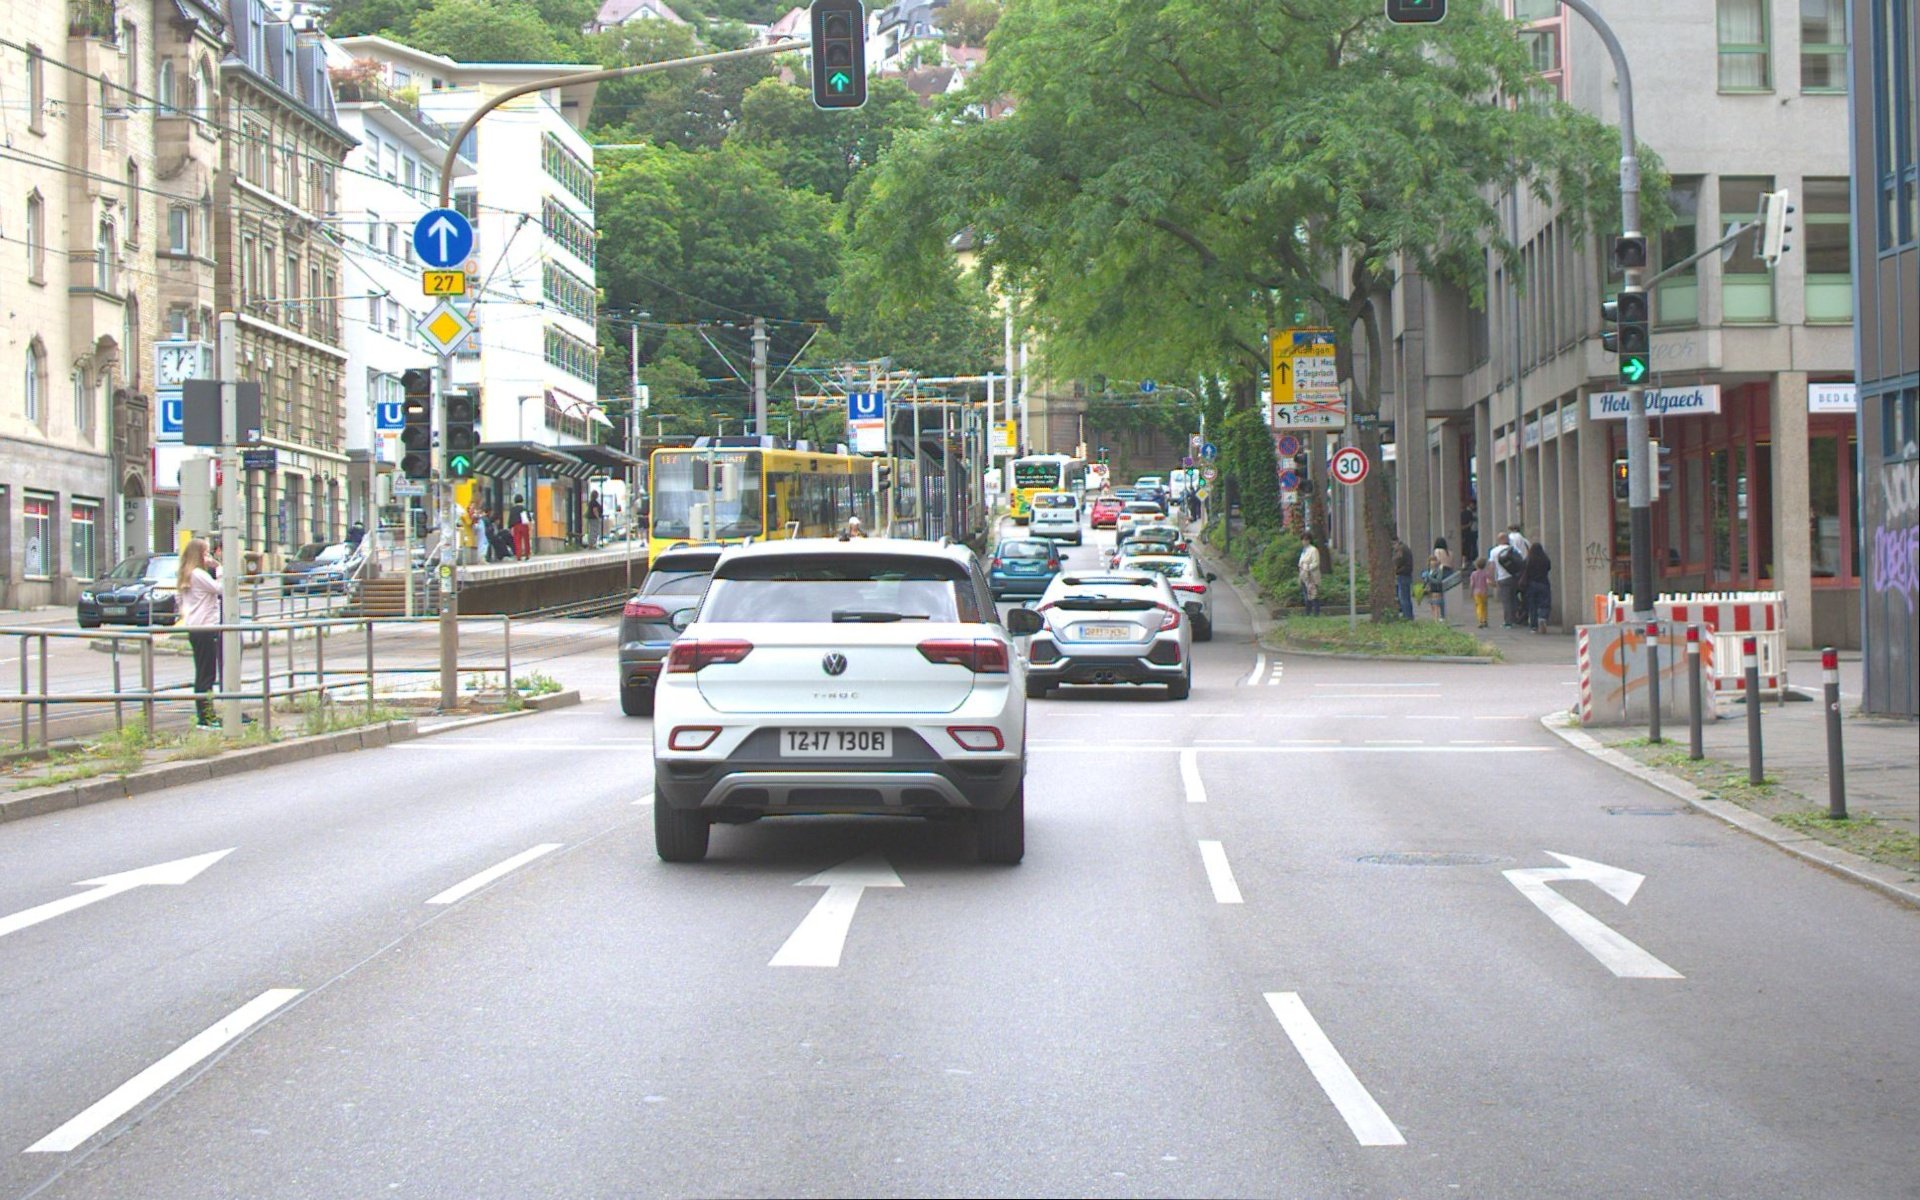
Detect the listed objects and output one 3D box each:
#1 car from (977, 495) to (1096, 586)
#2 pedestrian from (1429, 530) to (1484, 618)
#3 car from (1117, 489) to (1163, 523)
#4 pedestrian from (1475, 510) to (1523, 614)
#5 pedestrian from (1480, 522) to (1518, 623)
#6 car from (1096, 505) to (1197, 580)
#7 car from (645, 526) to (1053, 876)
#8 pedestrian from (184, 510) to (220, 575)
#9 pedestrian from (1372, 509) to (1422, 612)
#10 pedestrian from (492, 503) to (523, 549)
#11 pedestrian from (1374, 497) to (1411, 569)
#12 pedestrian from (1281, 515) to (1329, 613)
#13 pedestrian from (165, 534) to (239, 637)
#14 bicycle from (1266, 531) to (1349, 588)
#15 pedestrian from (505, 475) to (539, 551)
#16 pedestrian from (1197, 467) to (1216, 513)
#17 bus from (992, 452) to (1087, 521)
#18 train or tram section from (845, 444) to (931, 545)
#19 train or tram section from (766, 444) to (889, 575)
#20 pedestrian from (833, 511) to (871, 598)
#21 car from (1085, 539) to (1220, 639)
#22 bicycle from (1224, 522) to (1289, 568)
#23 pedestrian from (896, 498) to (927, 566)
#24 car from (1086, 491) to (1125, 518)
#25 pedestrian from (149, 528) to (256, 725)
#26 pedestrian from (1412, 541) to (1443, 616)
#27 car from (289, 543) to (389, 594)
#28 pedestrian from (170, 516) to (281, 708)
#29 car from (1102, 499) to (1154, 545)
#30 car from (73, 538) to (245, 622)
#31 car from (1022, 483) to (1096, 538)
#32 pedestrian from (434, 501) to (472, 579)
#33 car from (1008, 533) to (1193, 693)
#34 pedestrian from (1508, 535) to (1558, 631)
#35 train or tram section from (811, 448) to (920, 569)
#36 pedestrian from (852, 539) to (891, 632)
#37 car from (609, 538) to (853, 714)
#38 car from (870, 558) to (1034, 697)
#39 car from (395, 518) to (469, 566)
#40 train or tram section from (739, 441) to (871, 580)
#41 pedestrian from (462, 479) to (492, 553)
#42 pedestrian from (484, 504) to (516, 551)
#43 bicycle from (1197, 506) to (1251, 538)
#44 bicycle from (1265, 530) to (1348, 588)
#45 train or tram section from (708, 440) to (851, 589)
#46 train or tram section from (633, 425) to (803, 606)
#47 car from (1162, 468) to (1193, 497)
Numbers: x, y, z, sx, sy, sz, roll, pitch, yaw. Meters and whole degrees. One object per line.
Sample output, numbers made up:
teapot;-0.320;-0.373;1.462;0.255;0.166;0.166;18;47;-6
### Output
car;1.806;-1.377;79.664;2.365;2.007;5.147;1;1;5
pedestrian;8.867;-0.471;61.401;0.835;1.557;0.764;1;1;-1
car;9.228;-4.821;176.244;1.885;1.678;4.159;1;1;10
pedestrian;9.714;-0.683;61.985;0.733;1.868;0.733;0;1;-1
pedestrian;9.588;-0.485;61.202;0.518;1.783;0.764;1;1;-1
car;5.194;-1.603;96.473;2.364;2.007;5.149;1;1;-2
car;-0.631;0.430;17.728;1.837;1.578;4.157;1;1;-4
pedestrian;-20.815;-1.580;94.401;0.627;1.756;0.846;-1;1;-39
pedestrian;7.999;-0.729;62.944;0.721;1.796;0.835;-2;4;-1
pedestrian;-11.080;-1.815;84.168;0.635;1.103;0.690;0;2;3
pedestrian;11.037;-1.722;87.737;0.762;1.776;0.848;-2;4;-2
pedestrian;6.451;-0.684;64.296;0.693;1.771;0.689;-5;1;-1
pedestrian;-12.619;-0.248;57.263;0.876;1.699;0.811;0;1;32
bicycle;7.570;-0.887;74.847;1.707;1.180;0.449;-2;1;-4
pedestrian;-10.271;-2.031;80.557;0.627;1.756;0.846;0;1;4
pedestrian;10.777;-4.797;150.208;0.762;2.007;0.838;1;1;8
bus;3.926;-5.425;165.938;3.373;3.054;13.322;1;1;6
train or tram section;-2.648;-3.951;129.115;2.813;3.653;6.751;1;2;2
train or tram section;-3.660;-2.549;96.083;2.835;3.508;5.751;1;2;3
pedestrian;-2.139;-0.896;68.062;0.685;1.705;0.712;0;2;3
car;3.358;-0.213;60.707;1.884;1.678;4.162;1;1;-4
bicycle;7.773;-1.443;90.151;1.620;1.124;0.613;-2;1;7
pedestrian;-1.253;-1.759;88.851;0.718;1.725;0.670;1;1;4
car;6.640;-4.325;156.498;1.582;1.168;3.678;1;1;5
pedestrian;-6.674;0.225;30.312;0.764;1.715;0.637;0;1;3
pedestrian;8.432;-0.388;62.012;0.471;1.329;0.520;1;1;-1
car;-16.976;-0.880;94.137;1.632;1.370;3.782;0;1;7
pedestrian;-6.634;0.100;31.083;0.792;1.715;0.772;0;1;3
car;6.336;-2.910;129.233;1.885;1.678;4.161;1;1;3
car;-15.279;-0.405;65.825;1.657;1.547;4.534;0;1;8
car;3.763;-3.370;129.923;2.365;2.007;5.147;1;1;6
pedestrian;-11.148;-1.324;75.611;0.688;1.705;0.662;0;2;2
car;1.633;0.111;38.763;1.885;1.678;4.160;1;1;5
pedestrian;9.902;-0.303;59.400;0.762;1.606;0.618;-1;4;15
train or tram section;-2.930;-2.901;108.228;2.813;3.653;6.751;1;2;3
pedestrian;-1.634;-0.271;63.579;0.635;1.705;0.871;0;2;3
car;-2.199;0.232;34.085;1.994;1.630;4.000;0;0;2
car;-0.062;0.340;47.929;1.912;1.683;4.000;1;3;5
car;-17.057;-1.879;111.267;1.559;1.518;3.599;1;1;5
train or tram section;-4.013;-2.371;90.337;2.835;3.508;5.751;1;2;3
pedestrian;-11.184;-1.950;79.609;0.635;1.705;0.690;0;2;-6
pedestrian;-11.059;-1.746;82.603;0.635;1.103;0.690;0;2;3
bicycle;9.492;-2.805;123.550;1.881;1.133;0.808;1;1;9
bicycle;7.594;-0.901;75.321;1.707;1.180;0.449;-2;1;-4
train or tram section;-4.389;-2.131;84.571;2.835;3.508;5.751;1;2;3
train or tram section;-5.084;-1.812;73.074;2.835;3.666;5.751;1;2;3
car;12.222;-6.587;193.483;1.673;1.555;3.678;1;1;3
